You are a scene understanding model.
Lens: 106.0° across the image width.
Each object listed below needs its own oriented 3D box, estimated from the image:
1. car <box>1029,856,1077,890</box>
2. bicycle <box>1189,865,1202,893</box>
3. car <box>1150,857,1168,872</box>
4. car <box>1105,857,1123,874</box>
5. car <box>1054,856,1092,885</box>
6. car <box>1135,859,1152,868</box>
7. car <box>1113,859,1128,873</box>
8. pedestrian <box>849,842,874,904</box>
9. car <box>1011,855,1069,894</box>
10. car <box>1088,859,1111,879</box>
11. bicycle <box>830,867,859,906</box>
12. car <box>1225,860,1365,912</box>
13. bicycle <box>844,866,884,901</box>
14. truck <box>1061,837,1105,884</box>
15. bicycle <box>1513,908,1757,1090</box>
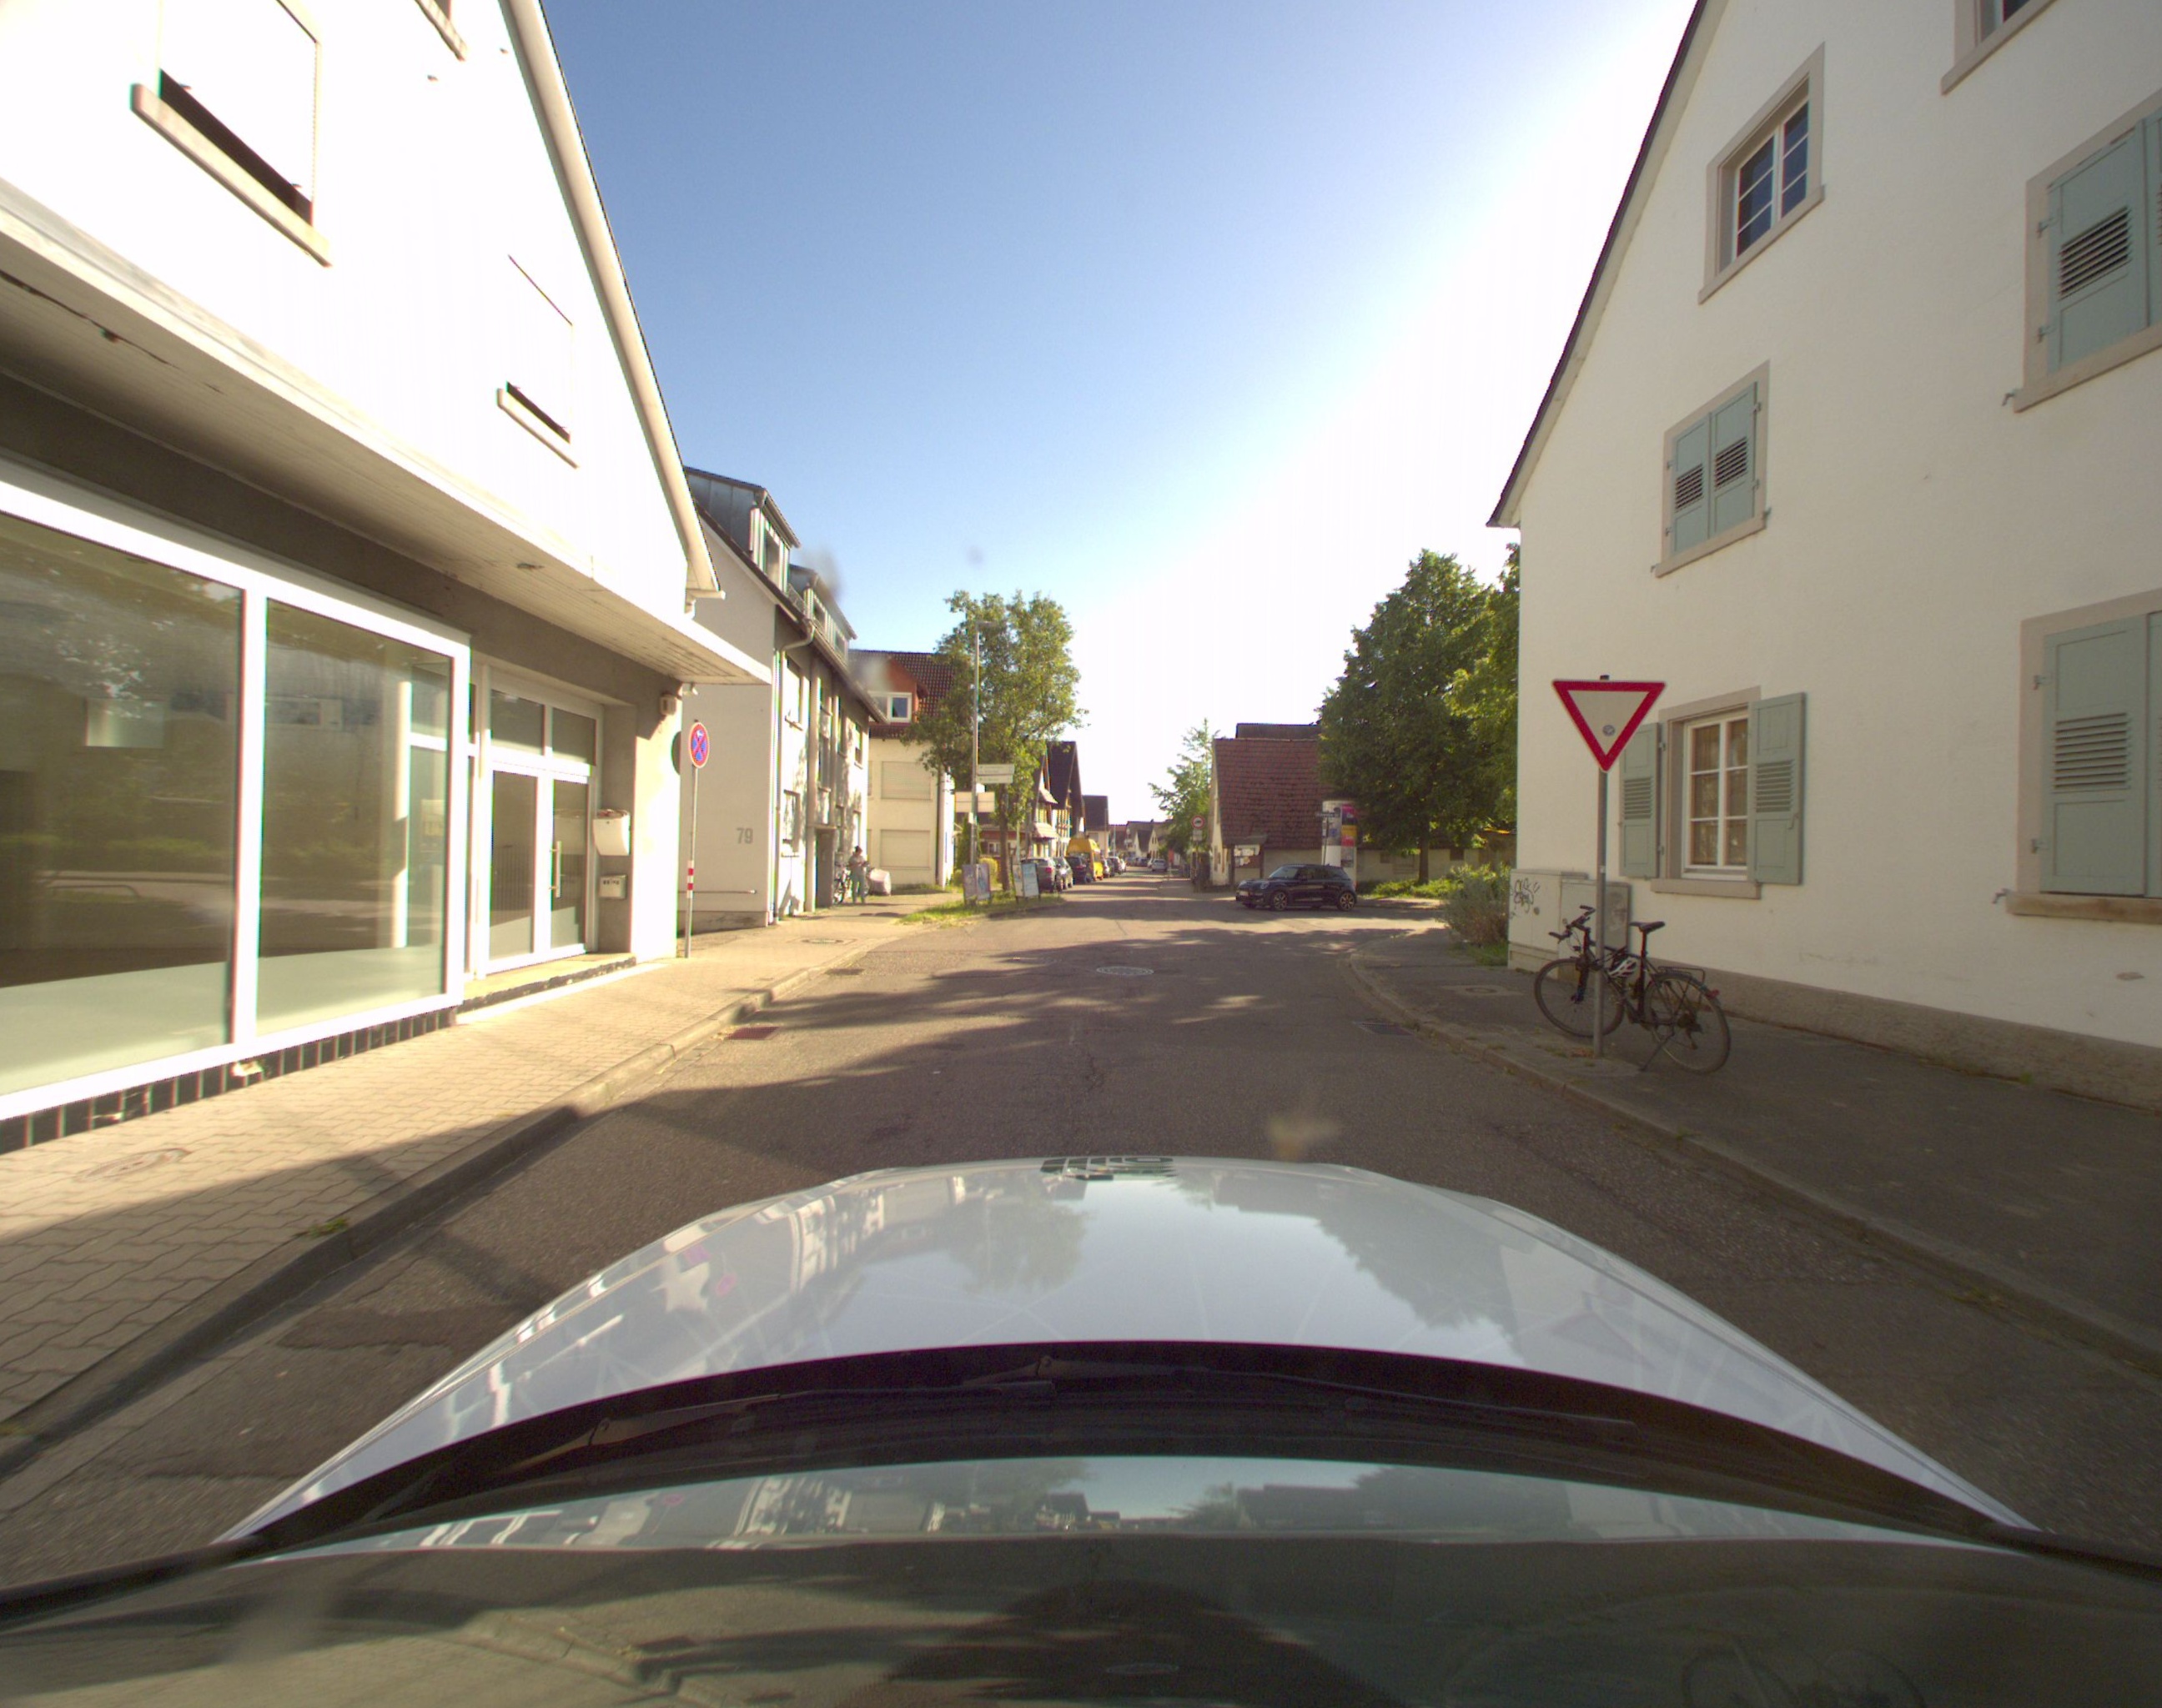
[{"bbox_3d":[-1.287,0.894,39.253,1.798,1.506,4.113,1,-1,5],"label":"car"},{"bbox_3d":[5.126,1.099,36.392,0.430,1.176,1.835,1,0,13],"label":"bicycle"},{"bbox_3d":[9.594,1.307,100.056,1.965,1.714,3.997,1,0,2],"label":"car"},{"bbox_3d":[3.112,1.072,75.908,1.582,1.443,3.617,1,0,3],"label":"car"},{"bbox_3d":[-0.438,0.956,48.161,1.798,1.622,3.886,1,-1,5],"label":"car"},{"bbox_3d":[10.956,1.662,142.805,1.972,1.583,3.982,2,0,-9],"label":"car"},{"bbox_3d":[4.227,1.248,87.797,1.582,1.443,3.617,1,0,3],"label":"car"},{"bbox_3d":[-6.122,0.543,22.758,0.482,1.693,0.556,1,-2,0],"label":"pedestrian"},{"bbox_3d":[-1.695,0.860,34.873,1.858,1.506,4.113,1,-1,5],"label":"car"},{"bbox_3d":[1.450,1.152,62.685,1.639,1.433,3.617,1,0,2],"label":"car"},{"bbox_3d":[-6.544,0.882,22.564,0.422,1.052,1.379,1,-2,-3],"label":"bicycle"},{"bbox_3d":[6.688,0.995,25.461,3.999,1.477,1.655,2,0,-19],"label":"car"},{"bbox_3d":[-6.885,0.924,25.959,0.575,1.052,2.038,1,-1,4],"label":"bicycle"},{"bbox_3d":[0.195,0.436,53.583,2.257,2.868,5.791,1,-1,5],"label":"truck"},{"bbox_3d":[4.196,1.028,6.369,0.434,1.080,1.885,0,0,-8],"label":"bicycle"}]
